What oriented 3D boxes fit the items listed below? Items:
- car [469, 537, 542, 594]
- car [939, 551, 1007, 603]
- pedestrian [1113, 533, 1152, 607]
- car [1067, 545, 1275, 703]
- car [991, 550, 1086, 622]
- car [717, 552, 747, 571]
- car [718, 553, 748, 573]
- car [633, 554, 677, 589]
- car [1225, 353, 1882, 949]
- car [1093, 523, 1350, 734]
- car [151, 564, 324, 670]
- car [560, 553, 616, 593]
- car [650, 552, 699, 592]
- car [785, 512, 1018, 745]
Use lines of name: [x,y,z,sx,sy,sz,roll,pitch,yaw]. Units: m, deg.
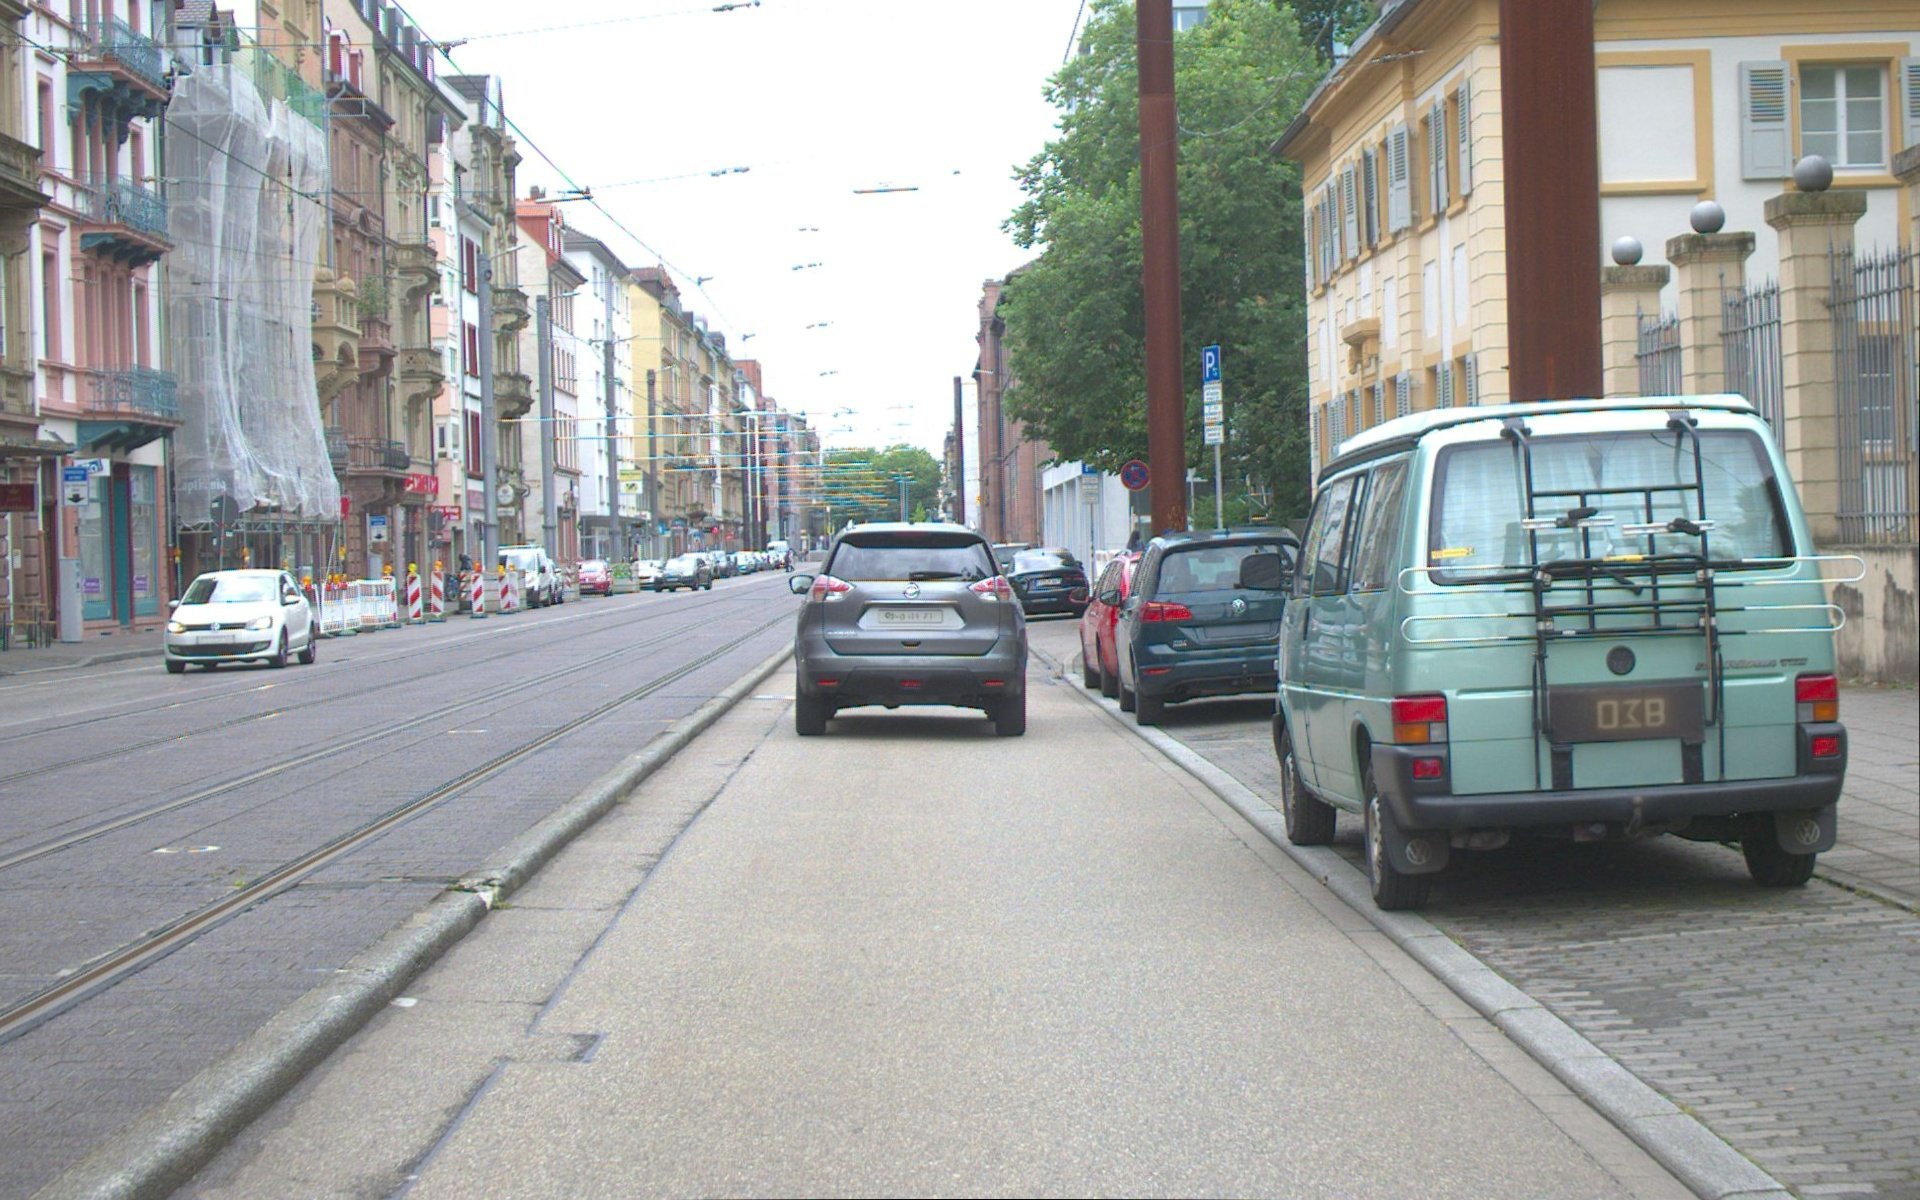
car: [-14.382,-1.082,108.959,1.993,1.700,4.000,-1,0,-4]
car: [0.346,-0.660,96.985,1.776,1.415,4.135,-1,1,-1]
pedestrian: [4.451,-0.778,88.774,0.910,1.880,0.846,-1,0,-1]
car: [2.125,0.209,35.627,1.749,1.436,3.924,-4,1,-1]
car: [1.597,-0.307,71.080,1.776,1.415,4.135,-1,1,-1]
car: [-15.809,-2.669,238.153,1.993,1.262,4.000,-1,0,-4]
car: [-15.429,-2.482,233.099,1.993,1.262,4.000,-1,0,-4]
car: [-14.641,-1.350,165.260,1.993,1.629,4.000,-1,0,-4]
car: [2.412,0.156,15.346,1.851,2.108,4.985,-4,1,-1]
car: [2.192,0.204,29.777,1.749,1.590,3.924,-4,1,-1]
car: [-10.447,0.213,49.946,1.687,1.415,4.135,-1,1,-1]
car: [-14.578,-1.049,134.762,1.993,1.459,4.000,-1,0,-4]
car: [-12.120,-1.185,146.031,1.993,1.629,4.000,-1,0,-4]
car: [-0.479,0.188,28.120,1.749,1.750,3.924,1,1,-1]
